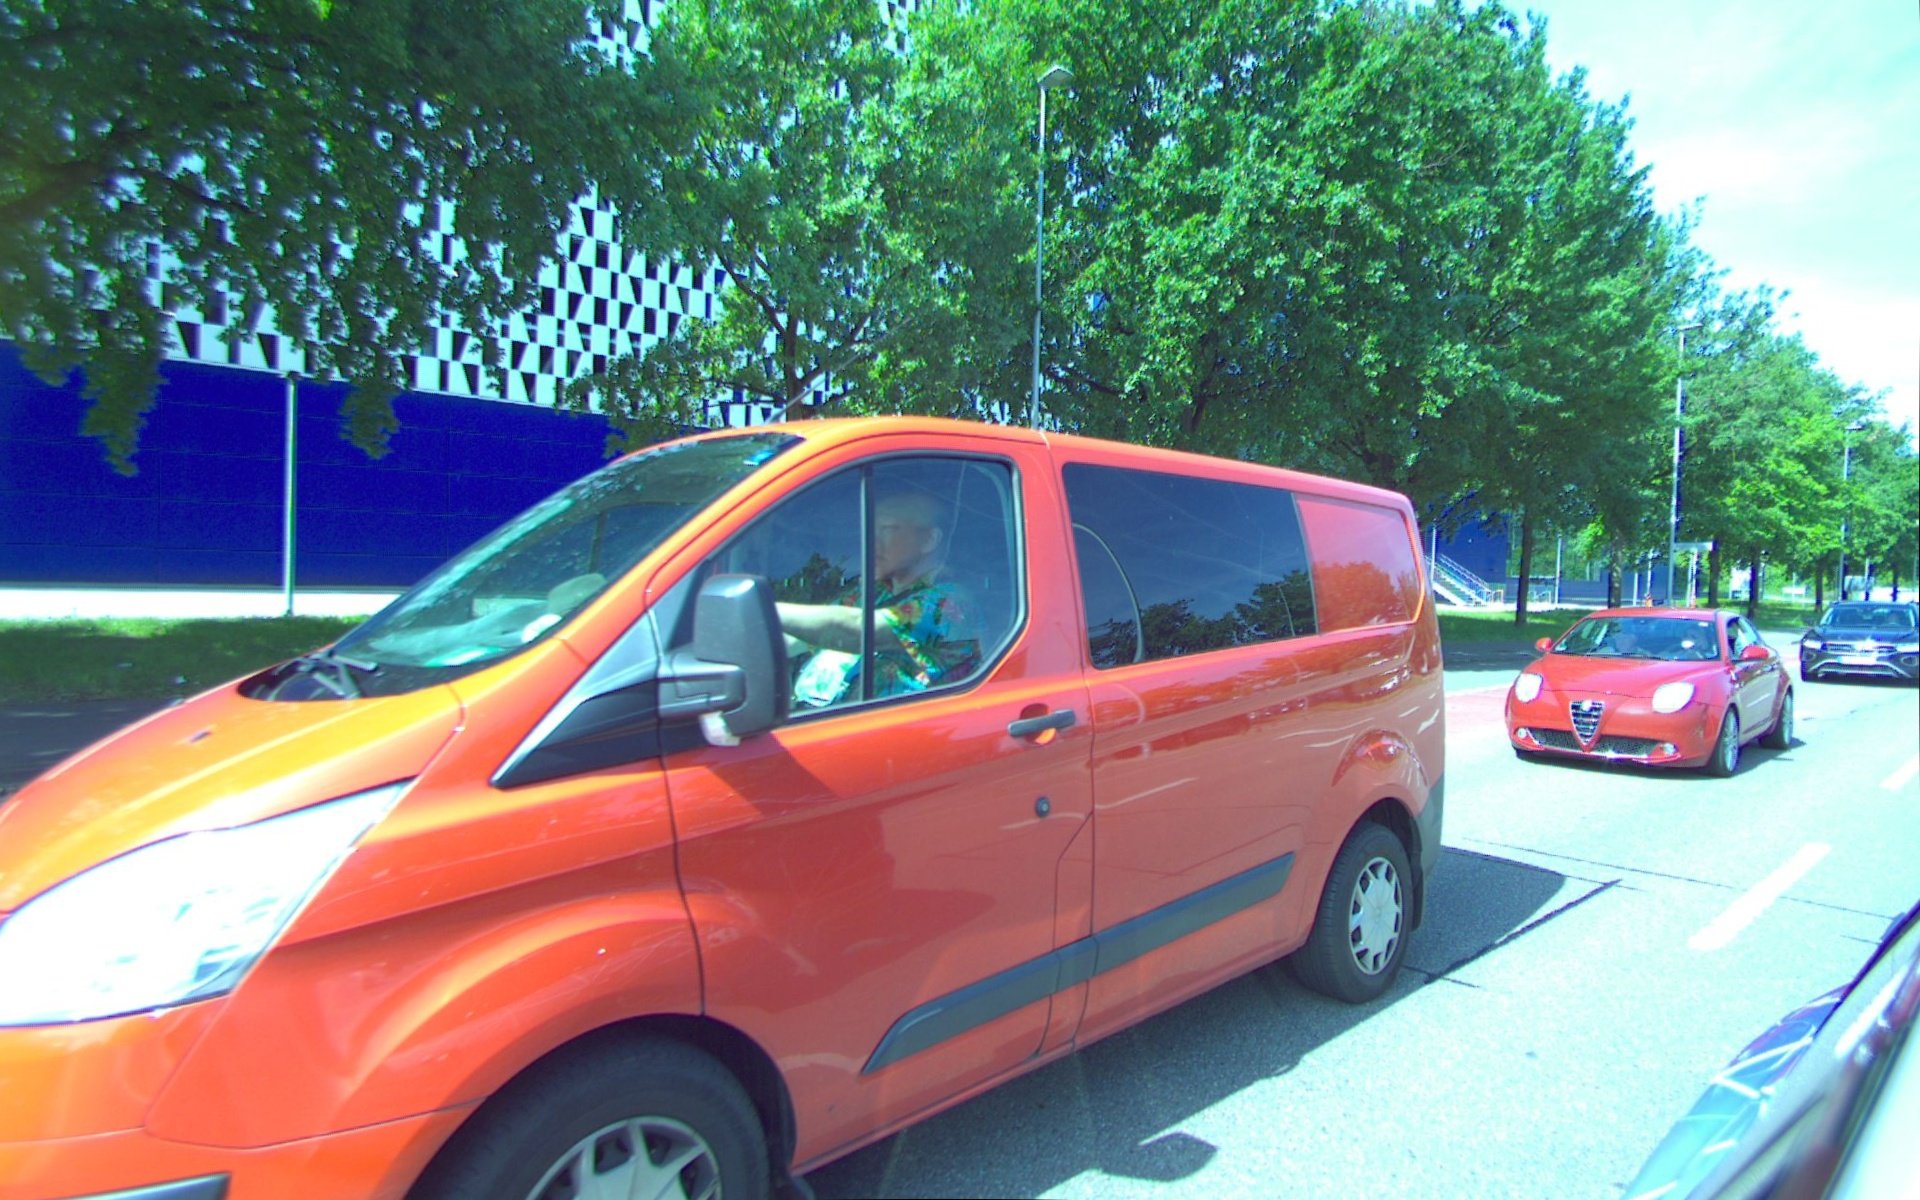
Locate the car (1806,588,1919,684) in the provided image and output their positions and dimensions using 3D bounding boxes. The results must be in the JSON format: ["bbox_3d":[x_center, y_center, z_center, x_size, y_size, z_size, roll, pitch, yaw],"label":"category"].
[{"bbox_3d":[17.872,0.628,19.409,4.039,1.662,1.823,0,1,-40],"label":"car"}]

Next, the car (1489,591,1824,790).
[{"bbox_3d":[6.839,0.680,9.790,3.911,1.472,1.796,-1,2,-42],"label":"car"}]

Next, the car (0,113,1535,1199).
[{"bbox_3d":[-0.038,0.395,3.502,5.036,1.992,1.971,0,1,-41],"label":"car"}]
